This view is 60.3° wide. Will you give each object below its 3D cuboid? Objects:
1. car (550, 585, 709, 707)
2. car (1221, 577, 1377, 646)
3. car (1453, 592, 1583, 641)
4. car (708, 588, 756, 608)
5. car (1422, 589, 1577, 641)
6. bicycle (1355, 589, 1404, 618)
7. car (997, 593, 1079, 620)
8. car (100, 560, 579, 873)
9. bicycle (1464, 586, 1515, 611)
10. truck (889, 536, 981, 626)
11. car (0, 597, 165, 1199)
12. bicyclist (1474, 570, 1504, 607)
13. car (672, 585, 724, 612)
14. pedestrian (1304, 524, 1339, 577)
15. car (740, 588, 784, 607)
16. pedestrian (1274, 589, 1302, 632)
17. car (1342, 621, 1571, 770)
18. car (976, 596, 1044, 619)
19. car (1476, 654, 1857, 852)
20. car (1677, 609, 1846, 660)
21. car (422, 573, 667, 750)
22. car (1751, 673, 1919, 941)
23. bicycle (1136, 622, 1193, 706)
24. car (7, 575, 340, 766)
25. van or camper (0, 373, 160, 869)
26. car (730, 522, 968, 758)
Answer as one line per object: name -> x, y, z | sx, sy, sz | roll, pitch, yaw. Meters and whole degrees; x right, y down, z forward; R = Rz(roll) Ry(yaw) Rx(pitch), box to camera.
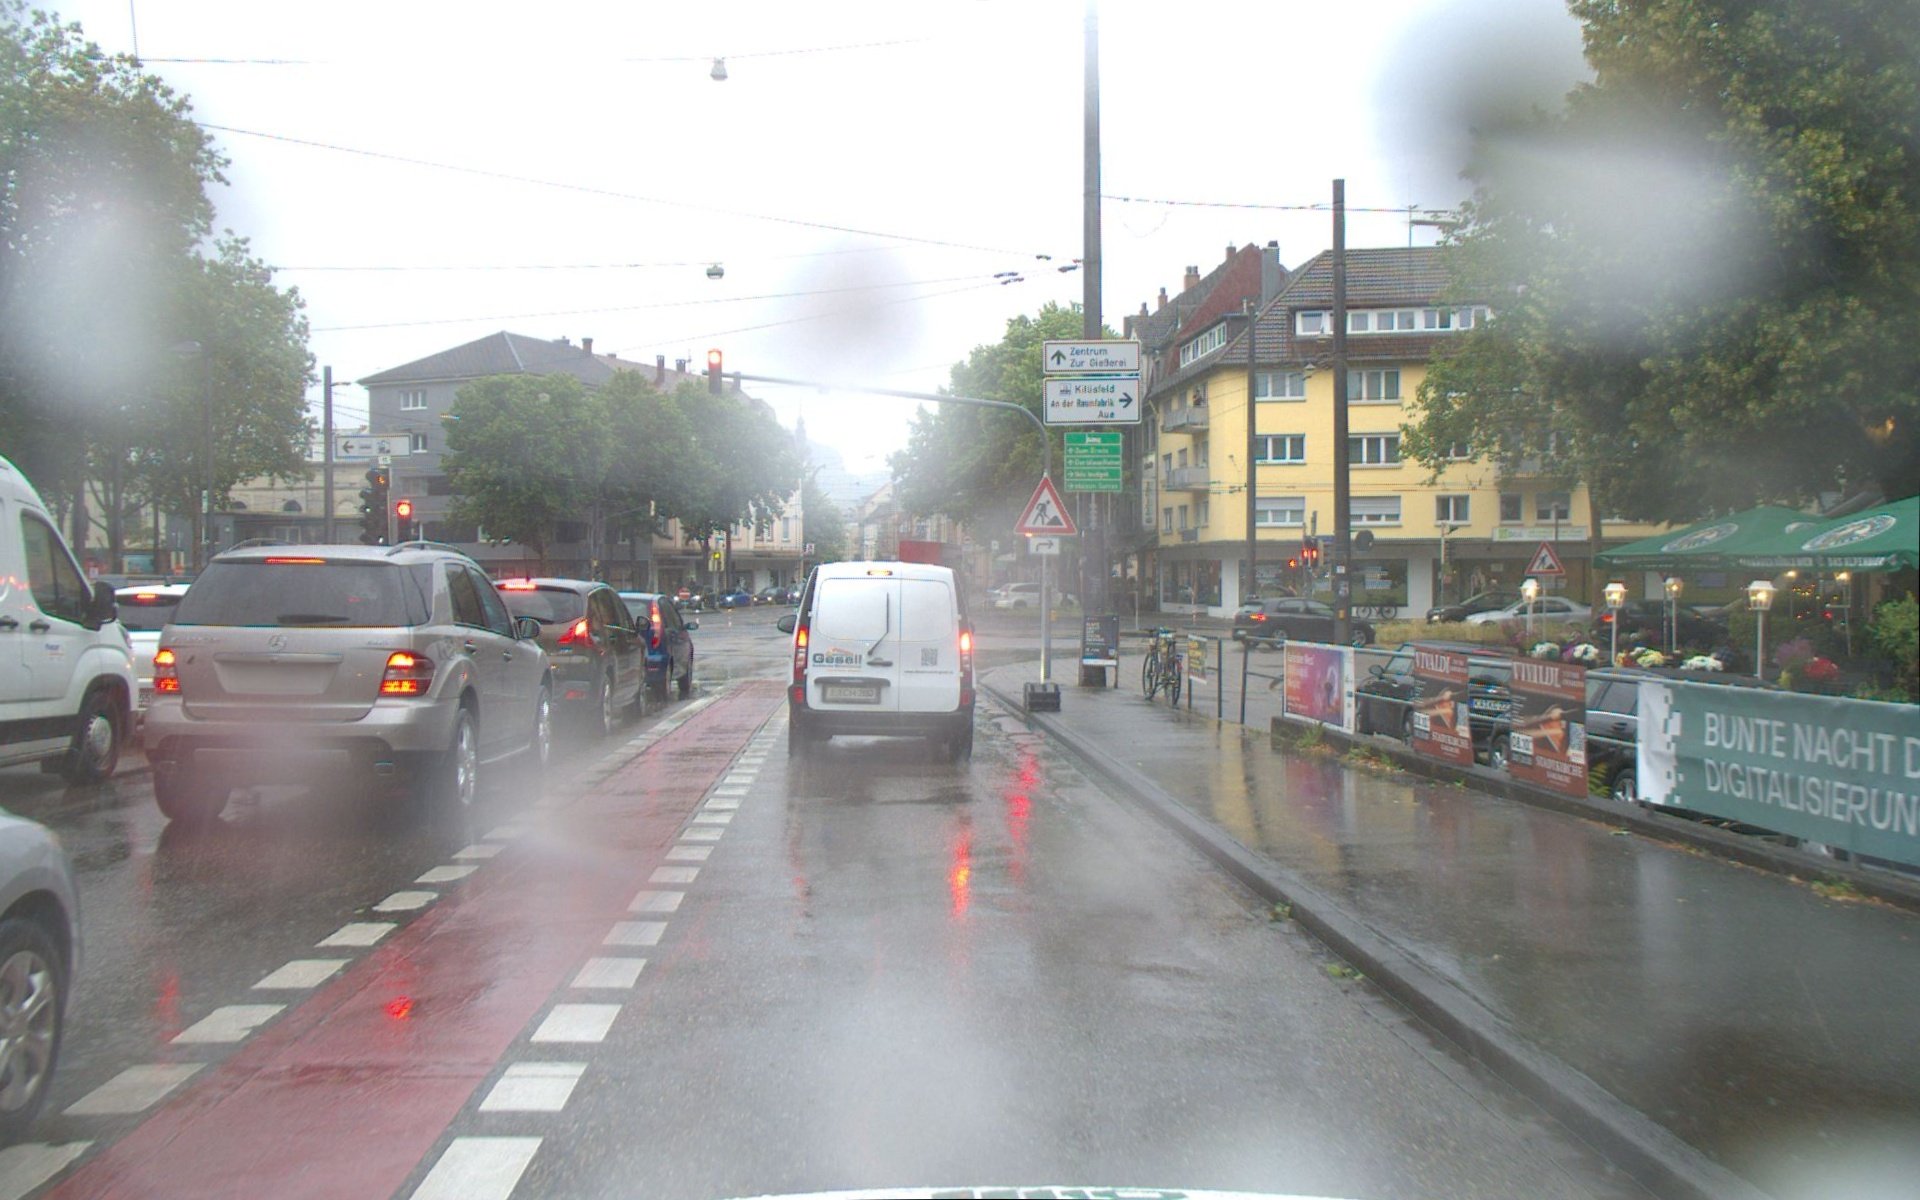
car -> -4.702, 0.605, 23.969 | 1.692, 1.606, 3.818 | 1, 0, -3
car -> 9.709, 0.322, 47.529 | 3.917, 1.898, 1.994 | 1, 0, -12
car -> 18.199, 0.525, 54.086 | 3.853, 1.516, 1.808 | 1, 1, 13
car -> -15.385, -0.162, 111.846 | 1.909, 1.260, 4.004 | 1, 2, 14
car -> 18.575, 0.520, 57.153 | 4.832, 1.672, 2.001 | 0, -2, 9
bicycle -> 18.685, 0.142, 73.681 | 2.056, 1.283, 0.532 | 1, 1, 12
car -> 4.076, 0.349, 86.683 | 4.091, 1.362, 1.517 | 0, 1, -10
car -> -4.113, 0.677, 11.850 | 1.985, 1.801, 4.459 | 1, 0, -4
bicycle -> 22.767, -0.056, 71.151 | 1.974, 1.045, 0.660 | 1, 0, 10
truck -> -1.350, -1.129, 104.154 | 3.396, 5.176, 15.319 | 1, 0, 8
car -> -3.140, 0.744, 2.929 | 1.733, 1.503, 3.998 | 1, 0, -4
bicyclist -> 22.760, -0.479, 71.175 | 1.043, 1.574, 0.937 | 1, 0, 8
car -> -16.746, -0.128, 105.884 | 1.909, 1.635, 4.004 | 1, 2, 14
pedestrian -> 11.671, -1.588, 53.365 | 0.886, 1.698, 1.019 | 1, 0, 25
car -> -14.280, -0.177, 119.543 | 1.909, 1.260, 4.004 | 1, 2, 14
pedestrian -> 12.097, 0.395, 61.012 | 0.809, 1.560, 0.613 | 1, 0, -41
car -> 6.076, 1.116, 20.657 | 1.671, 1.467, 3.524 | 4, 1, -1
car -> 2.681, 0.385, 88.506 | 3.380, 1.150, 1.468 | 1, 0, -11
car -> 6.256, 1.285, 15.174 | 1.668, 1.424, 3.971 | 1, 0, -2
car -> 22.755, 0.970, 47.094 | 3.902, 1.355, 2.002 | 1, 0, 9
car -> -4.400, 0.597, 18.141 | 1.798, 1.697, 4.170 | 1, 0, -3
car -> 6.806, 1.343, 10.143 | 1.698, 1.566, 4.071 | 1, 0, -5
bicycle -> 3.022, 0.929, 24.574 | 0.504, 1.126, 2.016 | 3, 0, -1
car -> -7.581, 0.609, 16.354 | 1.612, 1.657, 3.834 | 0, 0, -3
van or camper -> -7.219, 0.136, 10.188 | 2.116, 3.196, 5.846 | 0, 0, -5
car -> -1.085, 0.358, 16.904 | 2.058, 2.047, 4.960 | 0, 0, -3
